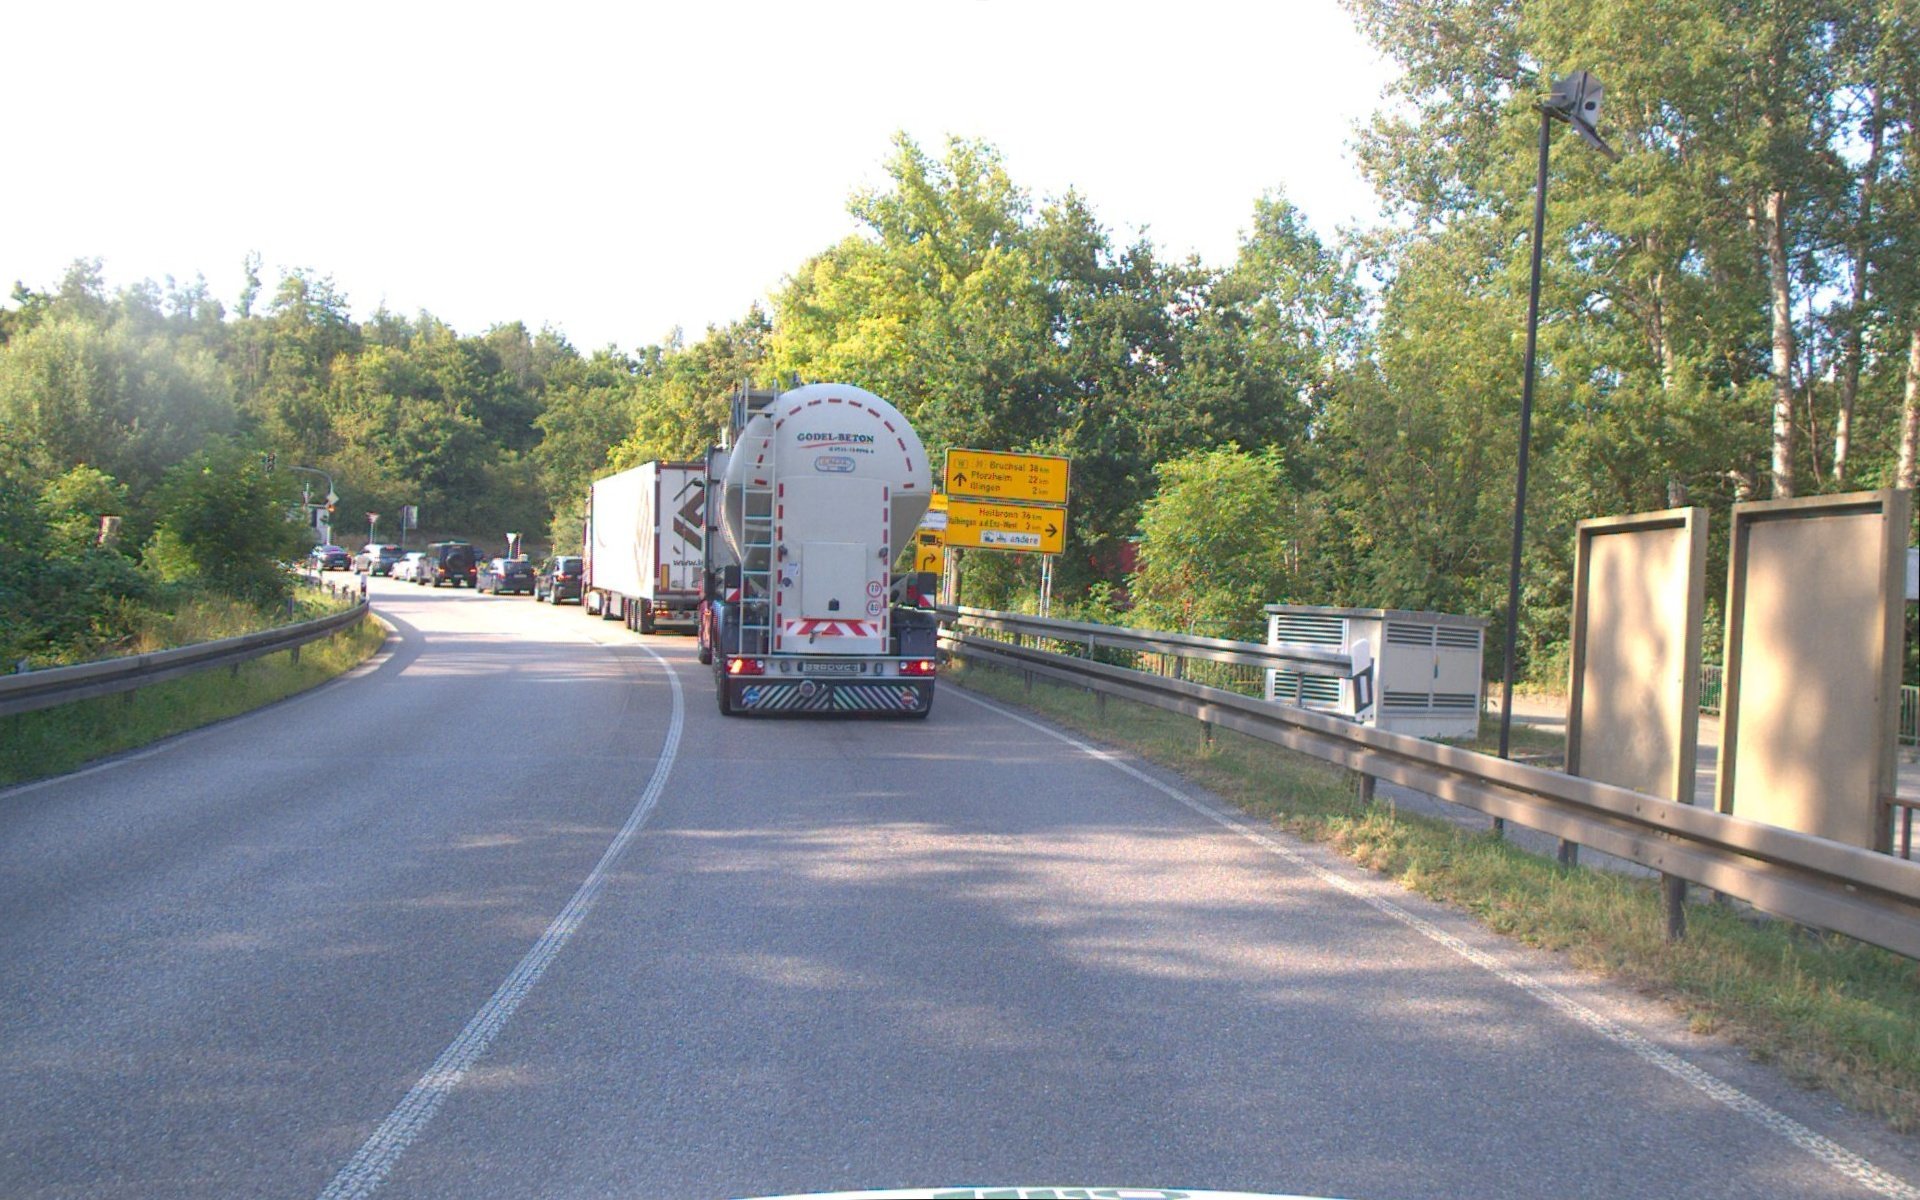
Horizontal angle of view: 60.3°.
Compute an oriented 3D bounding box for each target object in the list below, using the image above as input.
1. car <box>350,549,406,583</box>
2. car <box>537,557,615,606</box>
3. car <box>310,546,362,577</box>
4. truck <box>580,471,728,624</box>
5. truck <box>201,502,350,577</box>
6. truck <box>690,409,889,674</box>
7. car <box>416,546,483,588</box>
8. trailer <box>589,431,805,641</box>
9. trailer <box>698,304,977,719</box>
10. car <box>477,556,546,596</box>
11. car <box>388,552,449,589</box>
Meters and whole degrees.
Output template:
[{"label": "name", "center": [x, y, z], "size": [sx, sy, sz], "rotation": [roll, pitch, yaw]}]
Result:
[{"label": "car", "center": [-31.246, -1.851, 88.741], "size": [1.851, 1.622, 3.953], "rotation": [3, 0, -34]}, {"label": "car", "center": [-13.995, -0.697, 60.173], "size": [1.845, 1.656, 3.966], "rotation": [3, 0, -26]}, {"label": "car", "center": [-36.180, -2.253, 95.863], "size": [1.852, 1.592, 3.951], "rotation": [3, 0, -35]}, {"label": "truck", "center": [-9.306, -1.513, 49.741], "size": [3.398, 4.157, 6.456], "rotation": [2, 0, -19]}, {"label": "truck", "center": [-48.464, -4.191, 117.561], "size": [2.953, 4.664, 10.231], "rotation": [3, 0, 26]}, {"label": "truck", "center": [-3.141, -0.942, 28.972], "size": [2.775, 4.105, 5.877], "rotation": [1, 1, -12]}, {"label": "car", "center": [-23.673, -1.540, 76.631], "size": [1.940, 1.883, 3.953], "rotation": [-1, 2, -34]}, {"label": "trailer", "center": [-7.324, -1.533, 43.798], "size": [3.491, 4.591, 12.916], "rotation": [2, 0, -18]}, {"label": "trailer", "center": [-2.086, -1.017, 23.157], "size": [2.834, 4.532, 9.583], "rotation": [1, 0, -10]}, {"label": "car", "center": [-18.672, -1.003, 68.801], "size": [1.848, 1.592, 3.960], "rotation": [0, 2, -30]}, {"label": "car", "center": [-27.276, -1.493, 83.218], "size": [1.851, 1.712, 3.953], "rotation": [3, 0, -34]}]
